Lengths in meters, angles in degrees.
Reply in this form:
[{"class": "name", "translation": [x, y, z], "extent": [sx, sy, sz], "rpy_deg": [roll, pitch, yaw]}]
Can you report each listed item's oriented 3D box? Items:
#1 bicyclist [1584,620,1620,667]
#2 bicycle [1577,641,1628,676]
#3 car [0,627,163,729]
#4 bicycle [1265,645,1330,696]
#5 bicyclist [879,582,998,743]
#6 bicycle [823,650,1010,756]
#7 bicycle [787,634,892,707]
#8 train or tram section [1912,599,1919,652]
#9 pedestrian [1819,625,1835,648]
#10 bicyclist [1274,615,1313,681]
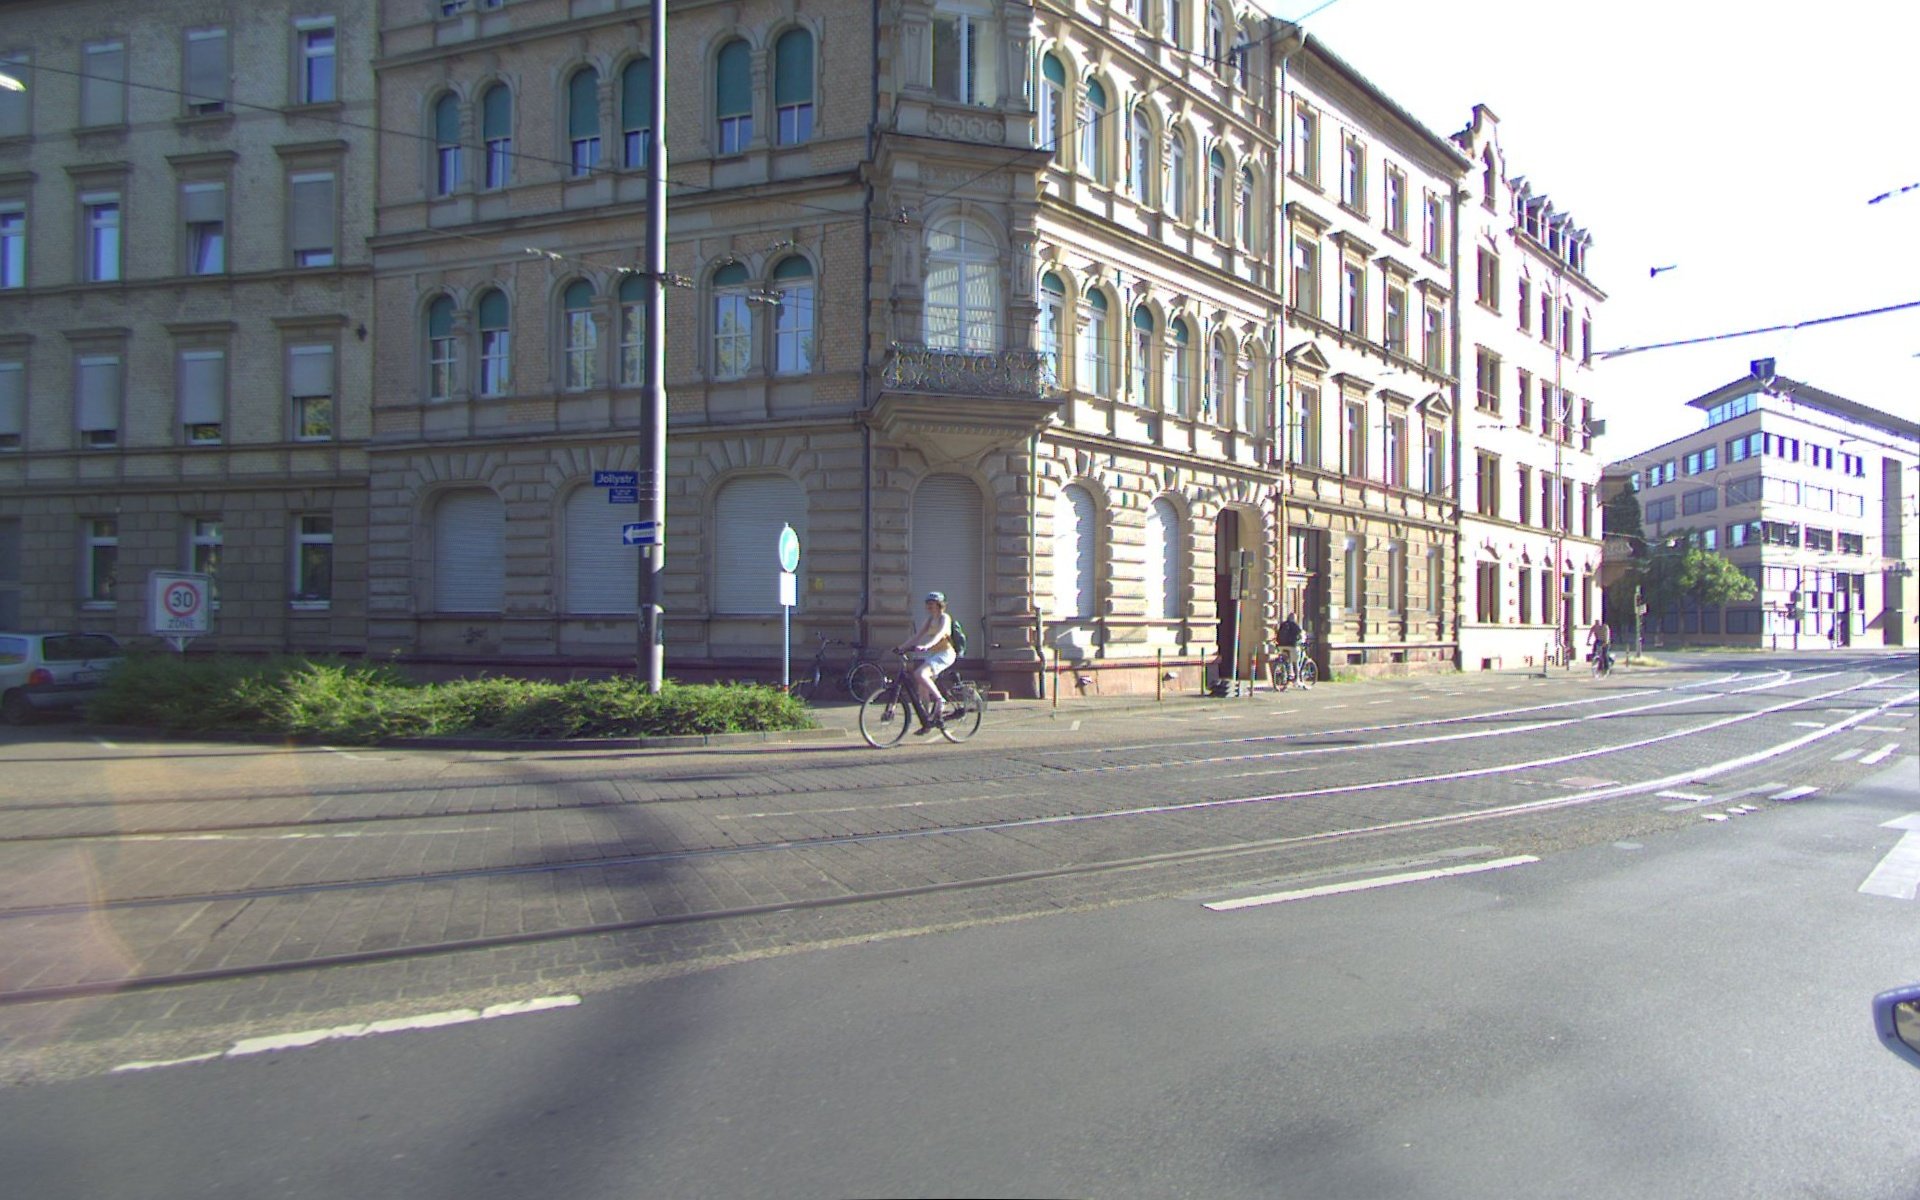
[{"class": "bicyclist", "translation": [21.470, 1.458, 33.588], "extent": [0.796, 1.534, 0.835], "rpy_deg": [2, -2, -42]}, {"class": "bicycle", "translation": [21.462, 1.926, 33.545], "extent": [1.984, 1.112, 0.937], "rpy_deg": [2, -2, -43]}, {"class": "car", "translation": [-15.185, 1.200, 16.178], "extent": [3.424, 1.448, 1.858], "rpy_deg": [-1, 1, 11]}, {"class": "bicycle", "translation": [7.945, 1.634, 23.617], "extent": [2.110, 1.147, 0.496], "rpy_deg": [2, -2, -42]}, {"class": "bicyclist", "translation": [-0.268, 0.776, 12.780], "extent": [1.105, 1.915, 1.020], "rpy_deg": [2, -2, -42]}, {"class": "bicycle", "translation": [-0.501, 1.230, 12.549], "extent": [2.307, 1.171, 0.874], "rpy_deg": [2, -2, -42]}, {"class": "bicycle", "translation": [-2.115, 1.217, 17.584], "extent": [1.756, 1.222, 0.503], "rpy_deg": [0, 1, 14]}, {"class": "train or tram section", "translation": [71.835, 1.895, 71.721], "extent": [14.119, 3.621, 2.229], "rpy_deg": [2, -2, -32]}, {"class": "pedestrian", "translation": [72.614, 3.072, 84.117], "extent": [0.727, 1.866, 0.802], "rpy_deg": [1, -2, -31]}, {"class": "bicyclist", "translation": [7.795, 1.116, 23.455], "extent": [0.696, 1.510, 0.587], "rpy_deg": [1, -2, -40]}]
